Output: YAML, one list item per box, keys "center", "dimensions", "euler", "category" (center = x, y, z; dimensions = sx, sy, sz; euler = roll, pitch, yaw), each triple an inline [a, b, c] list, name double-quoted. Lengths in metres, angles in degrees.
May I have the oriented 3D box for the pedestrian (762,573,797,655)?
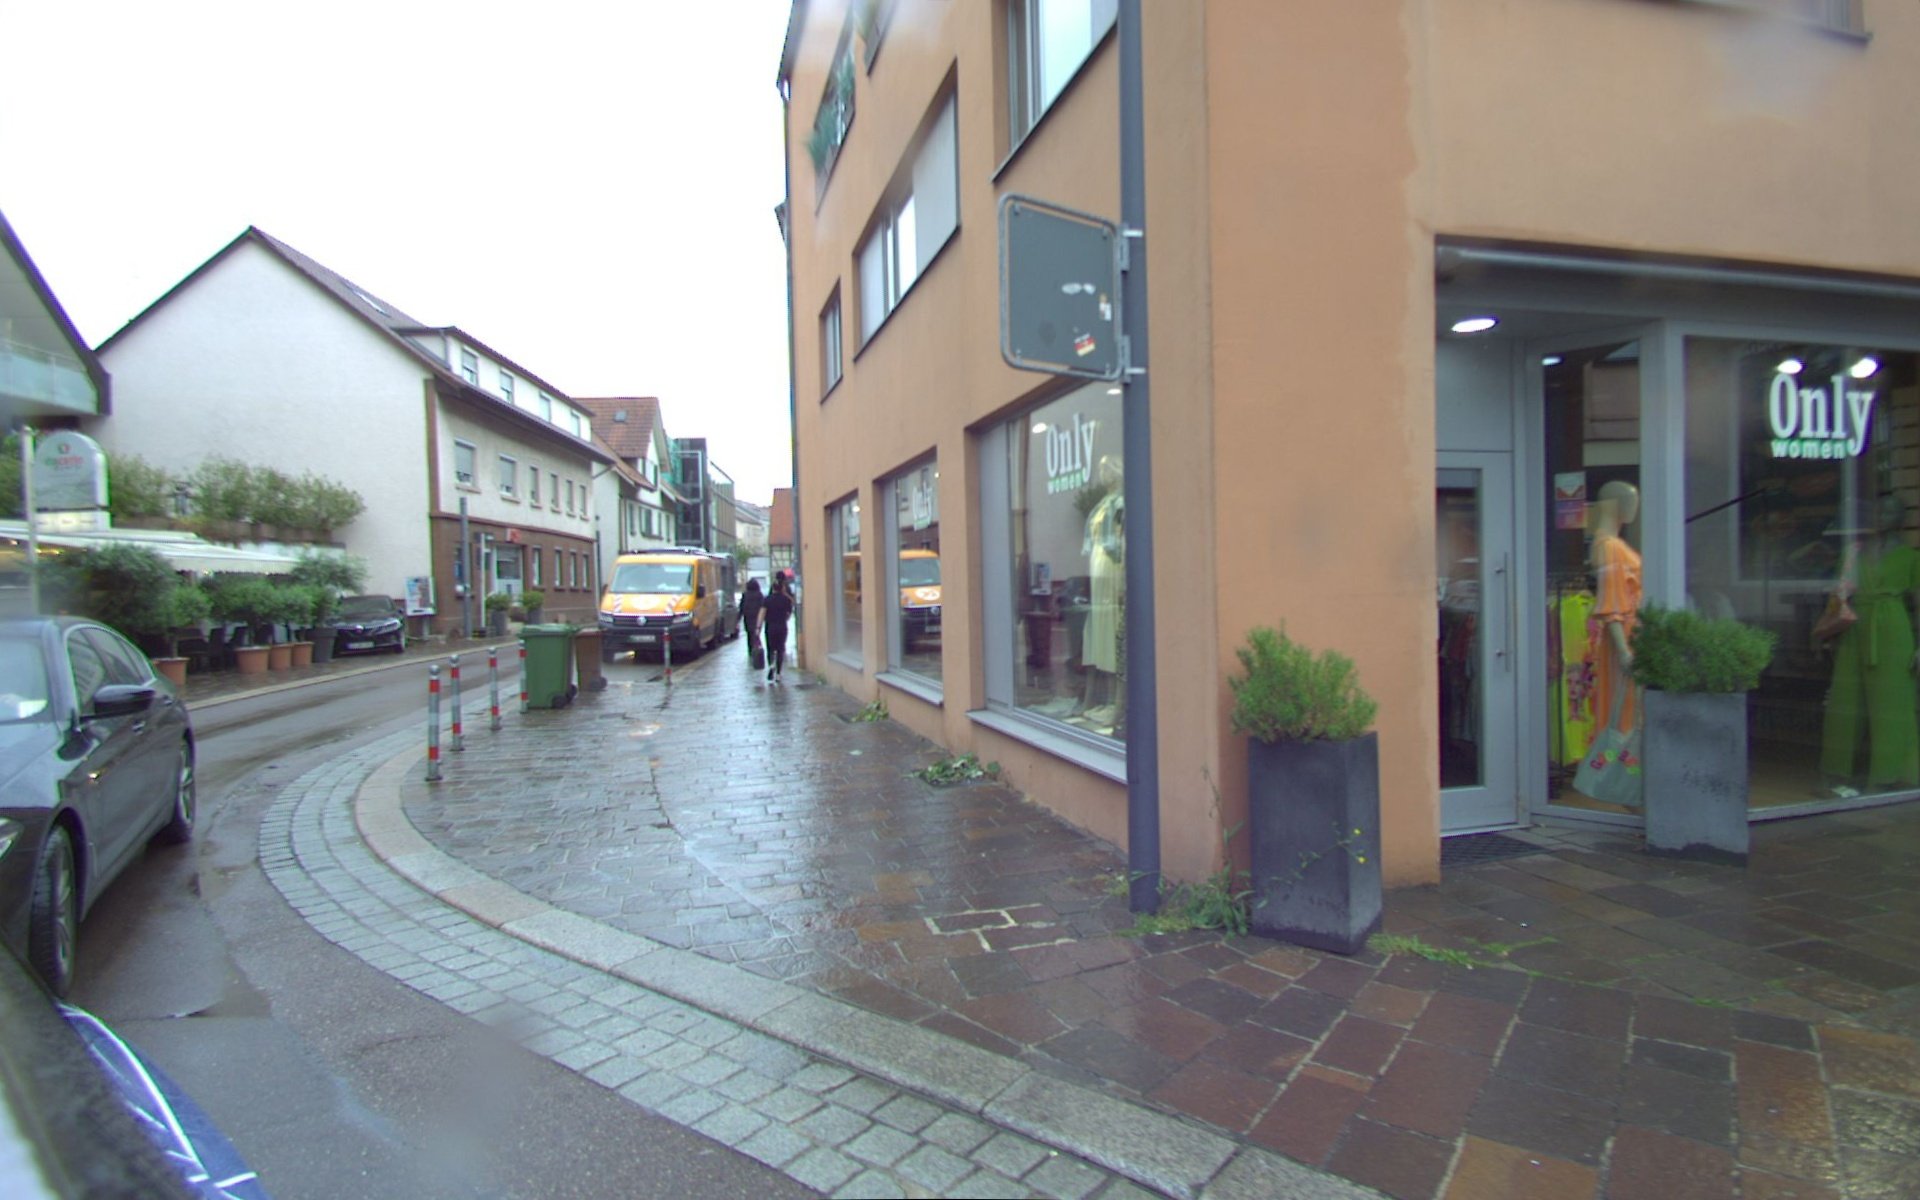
- center: [-3.932, 0.302, 22.038]
  dimensions: [0.614, 1.725, 0.811]
  euler: [-3, 1, -14]
  category: "pedestrian"

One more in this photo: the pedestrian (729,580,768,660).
- center: [-4.579, 0.420, 21.896]
  dimensions: [0.705, 1.651, 0.747]
  euler: [-3, 1, -14]
  category: "pedestrian"

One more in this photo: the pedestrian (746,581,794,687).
- center: [-3.027, 0.524, 16.092]
  dimensions: [0.650, 1.622, 0.686]
  euler: [-2, 0, -17]
  category: "pedestrian"

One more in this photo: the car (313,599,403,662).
- center: [-14.612, 0.682, 24.719]
  dimensions: [1.709, 1.367, 3.949]
  euler: [-1, 1, -29]
  category: "car"

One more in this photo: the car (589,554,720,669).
- center: [-6.776, 0.190, 23.123]
  dimensions: [1.968, 2.256, 5.872]
  euler: [-1, 1, -8]
  category: "car"

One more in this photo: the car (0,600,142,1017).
- center: [-5.156, 0.744, 4.759]
  dimensions: [1.918, 1.413, 4.427]
  euler: [-2, 1, -40]
  category: "car"

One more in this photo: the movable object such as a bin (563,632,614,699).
- center: [-5.605, 0.975, 15.287]
  dimensions: [0.574, 0.934, 0.482]
  euler: [-4, 1, -6]
  category: "movable object such as a bin"

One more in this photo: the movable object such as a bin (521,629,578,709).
- center: [-5.716, 0.945, 14.128]
  dimensions: [0.647, 1.044, 0.612]
  euler: [-1, 1, -15]
  category: "movable object such as a bin"

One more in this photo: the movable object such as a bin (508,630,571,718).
- center: [-5.354, 0.929, 12.917]
  dimensions: [0.647, 1.044, 0.612]
  euler: [-1, 1, -15]
  category: "movable object such as a bin"

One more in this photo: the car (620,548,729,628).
- center: [-11.682, -0.431, 42.254]
  dimensions: [2.671, 2.895, 8.854]
  euler: [-2, 0, -5]
  category: "car"
